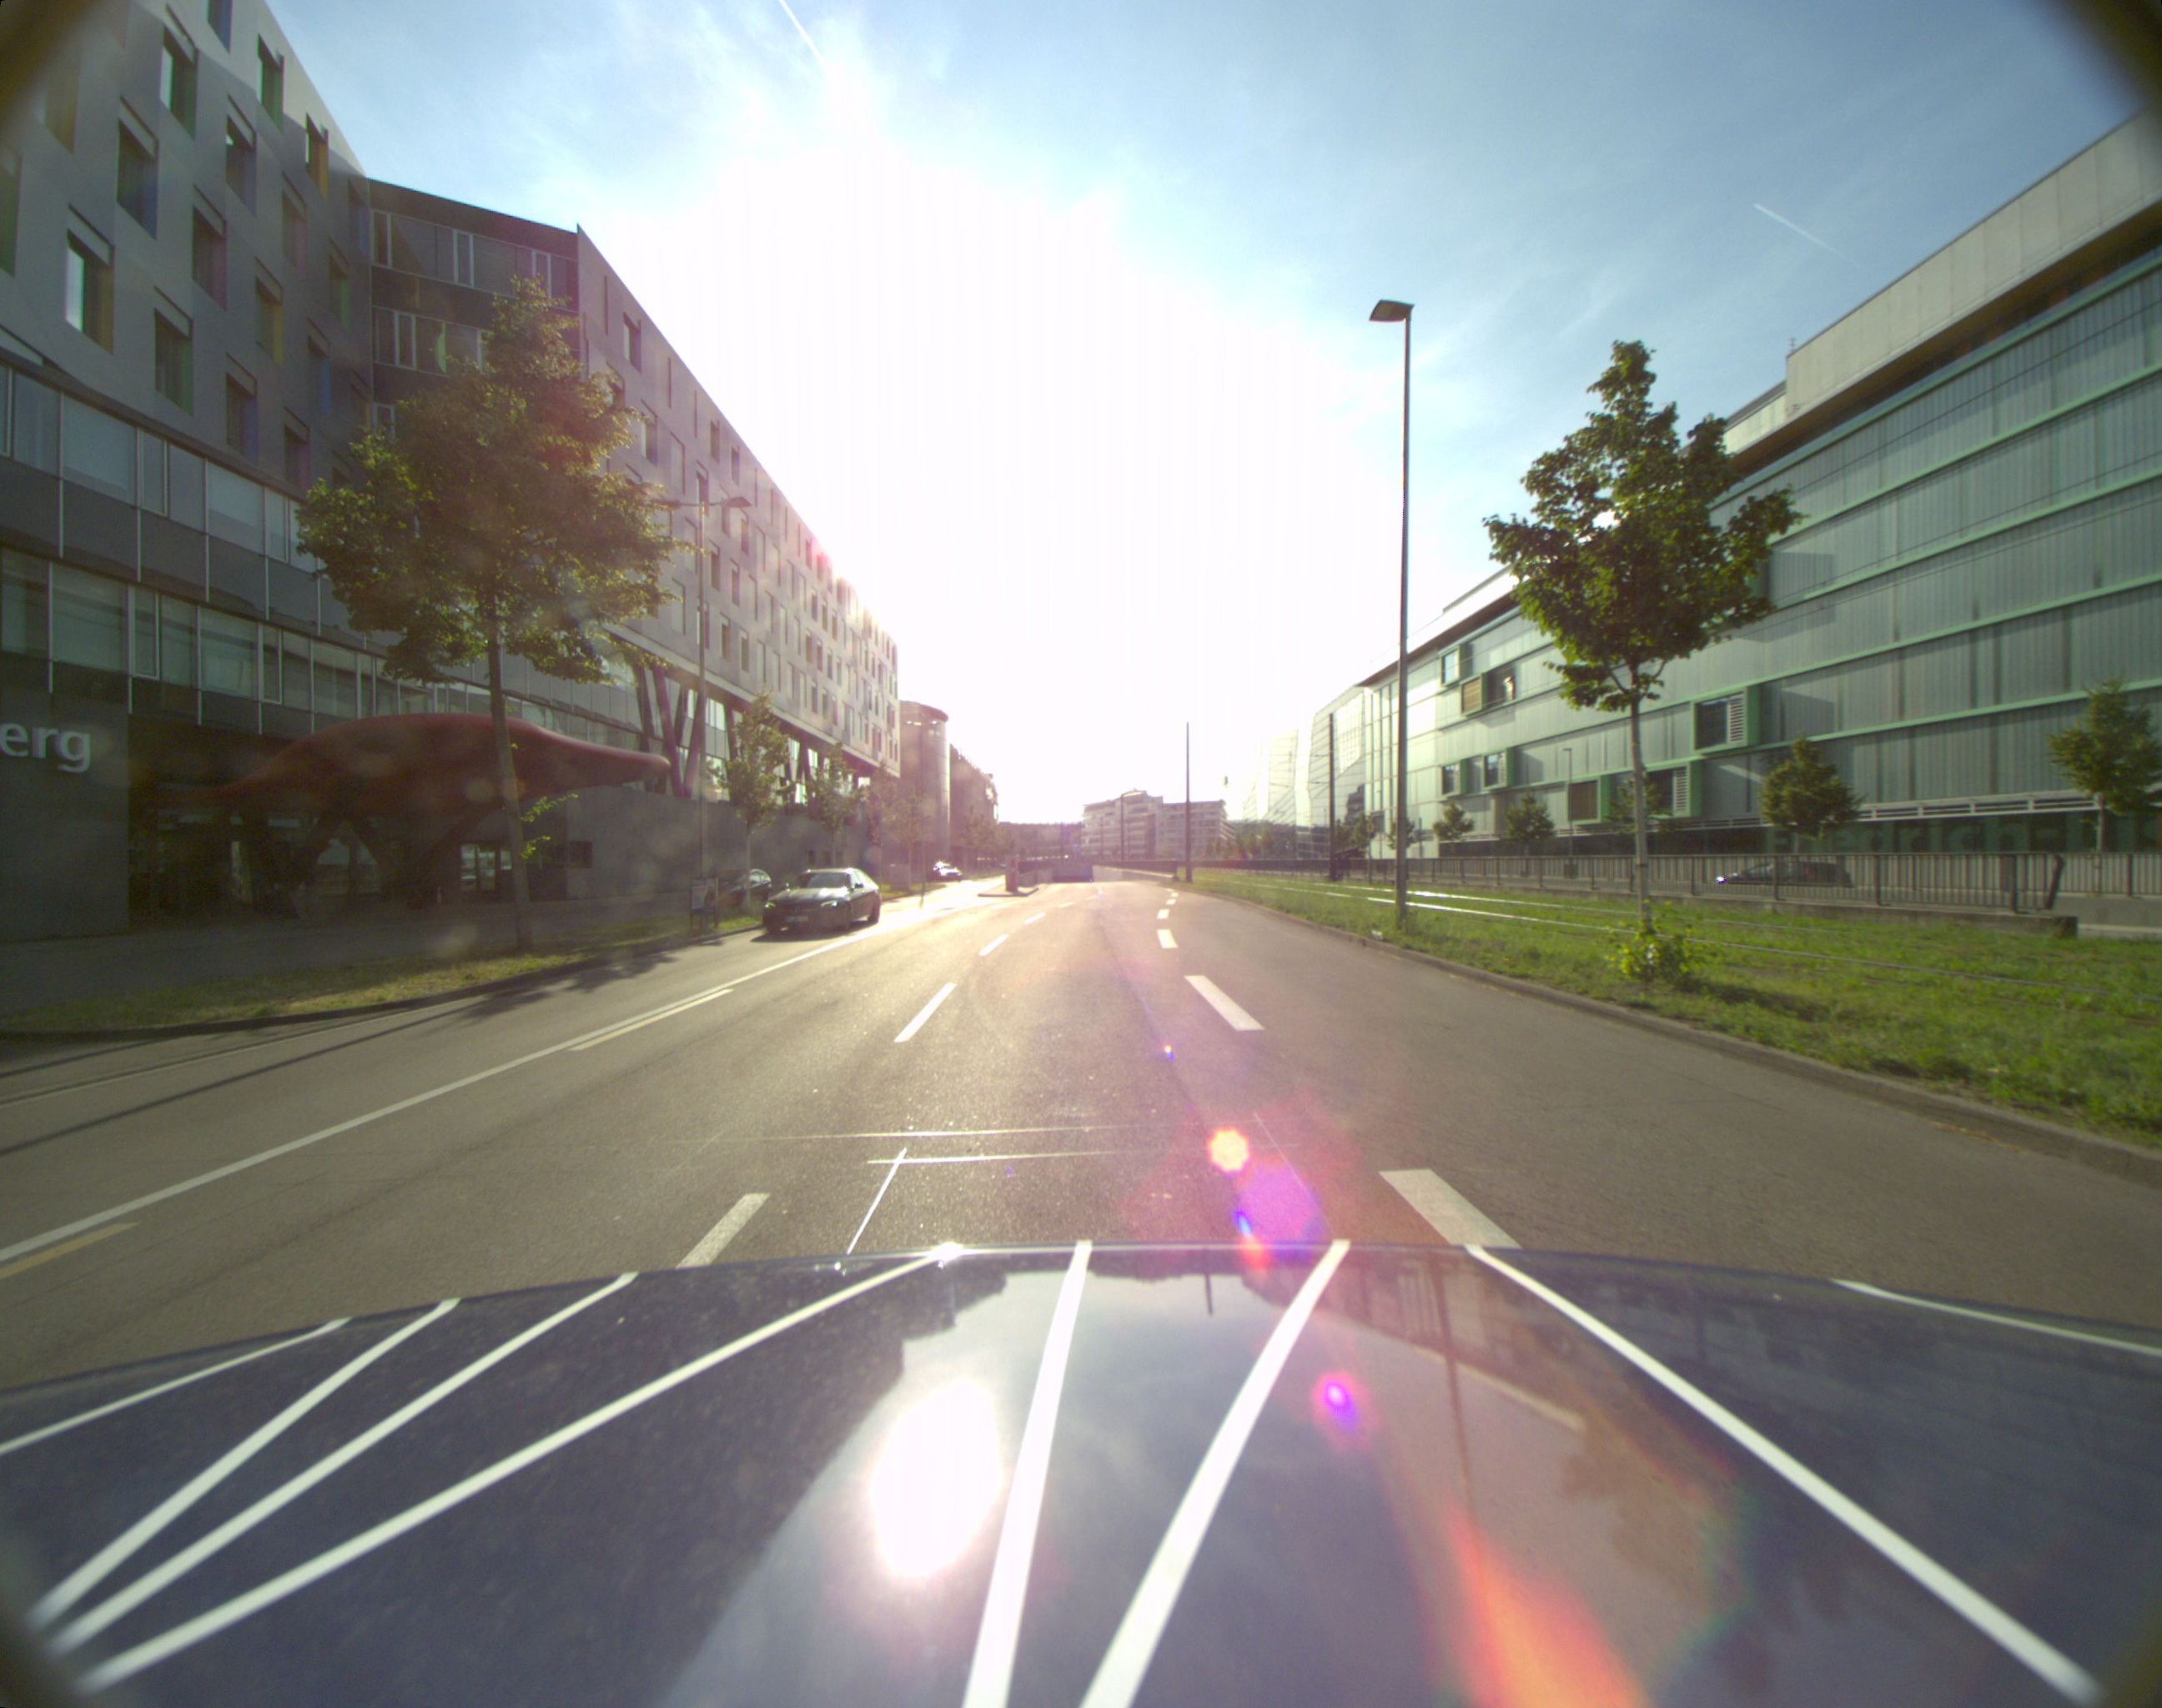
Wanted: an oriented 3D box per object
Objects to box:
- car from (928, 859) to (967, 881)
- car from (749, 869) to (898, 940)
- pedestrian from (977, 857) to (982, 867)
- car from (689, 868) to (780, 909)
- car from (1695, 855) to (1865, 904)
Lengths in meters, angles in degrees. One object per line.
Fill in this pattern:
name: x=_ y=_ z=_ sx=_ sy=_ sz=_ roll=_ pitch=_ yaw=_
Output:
car: x=-10.845 y=1.233 z=61.657 sx=1.898 sy=1.419 sz=4.461 roll=-2 pitch=4 yaw=-26
car: x=-6.177 y=1.153 z=18.843 sx=1.843 sy=1.441 sz=4.557 roll=-2 pitch=-1 yaw=4
pedestrian: x=-17.767 y=1.344 z=133.288 sx=0.725 sy=1.776 sz=0.771 roll=-1 pitch=1 yaw=-2
car: x=-13.033 y=1.252 z=28.863 sx=1.696 sy=1.382 sz=4.198 roll=0 pitch=-1 yaw=-2
car: x=26.064 y=0.891 z=28.607 sx=1.999 sy=1.677 sz=4.726 roll=0 pitch=0 yaw=-1
